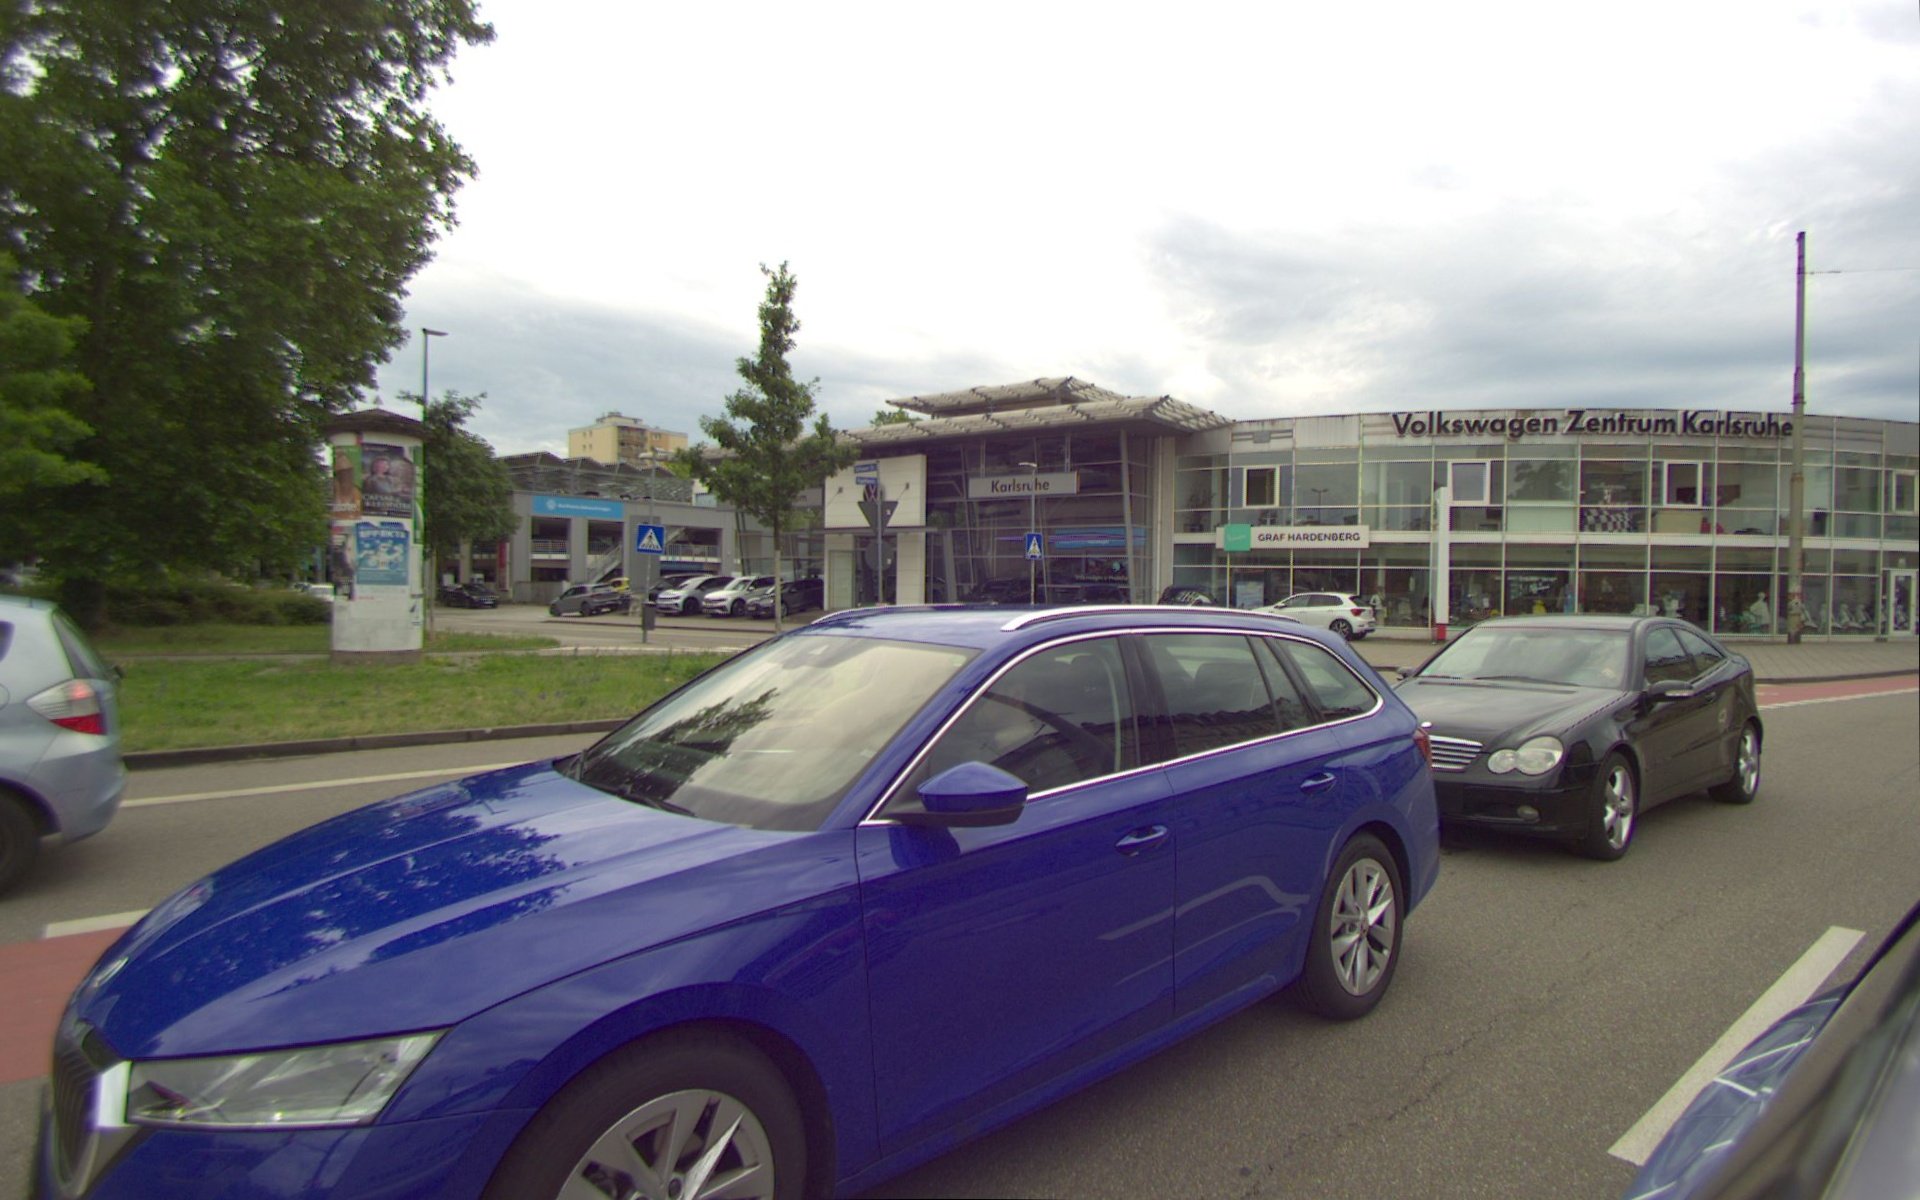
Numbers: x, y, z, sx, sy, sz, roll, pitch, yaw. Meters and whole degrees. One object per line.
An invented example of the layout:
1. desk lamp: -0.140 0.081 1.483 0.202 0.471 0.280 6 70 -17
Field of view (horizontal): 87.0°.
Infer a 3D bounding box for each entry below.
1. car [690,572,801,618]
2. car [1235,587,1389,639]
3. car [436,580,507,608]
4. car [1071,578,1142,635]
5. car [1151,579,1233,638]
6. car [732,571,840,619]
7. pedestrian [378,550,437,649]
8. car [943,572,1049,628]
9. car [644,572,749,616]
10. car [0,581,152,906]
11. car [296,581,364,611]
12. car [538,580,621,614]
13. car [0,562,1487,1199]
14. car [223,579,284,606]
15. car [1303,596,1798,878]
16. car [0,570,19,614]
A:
1. car: -9.396 -0.269 44.596 1.850 1.719 4.716 0 4 36
2. car: 11.016 0.361 31.793 4.243 1.471 1.757 1 1 40
3. car: -28.982 -0.394 60.050 4.446 1.567 1.876 2 2 35
4. car: 4.713 0.160 33.126 1.824 1.522 4.340 0 4 2
5. car: 7.413 0.210 32.737 1.867 1.581 4.219 1 3 4
6. car: -7.313 -0.244 42.851 1.886 1.717 4.421 0 4 36
7. pedestrian: -10.705 -0.014 19.615 0.527 1.867 0.985 1 1 6
8. car: 1.358 -0.046 35.854 1.846 1.652 4.464 0 4 31
9. car: -11.976 -0.324 46.191 1.859 1.719 4.419 0 4 37
10. car: -6.096 0.653 4.356 4.027 1.485 1.752 0 1 -41
11. car: -37.059 -0.279 59.503 4.446 1.643 1.838 2 2 35
12. car: -18.634 -0.157 49.497 3.988 1.583 1.896 0 2 35
13. car: -0.107 0.663 3.346 4.387 1.507 1.783 -1 2 -41
14. car: -46.023 -0.511 65.907 4.446 1.643 1.838 2 2 35
15. car: 4.347 0.709 7.213 3.996 1.439 1.714 0 1 -39
16. car: -36.496 -0.325 36.335 4.408 1.567 1.854 1 1 13
